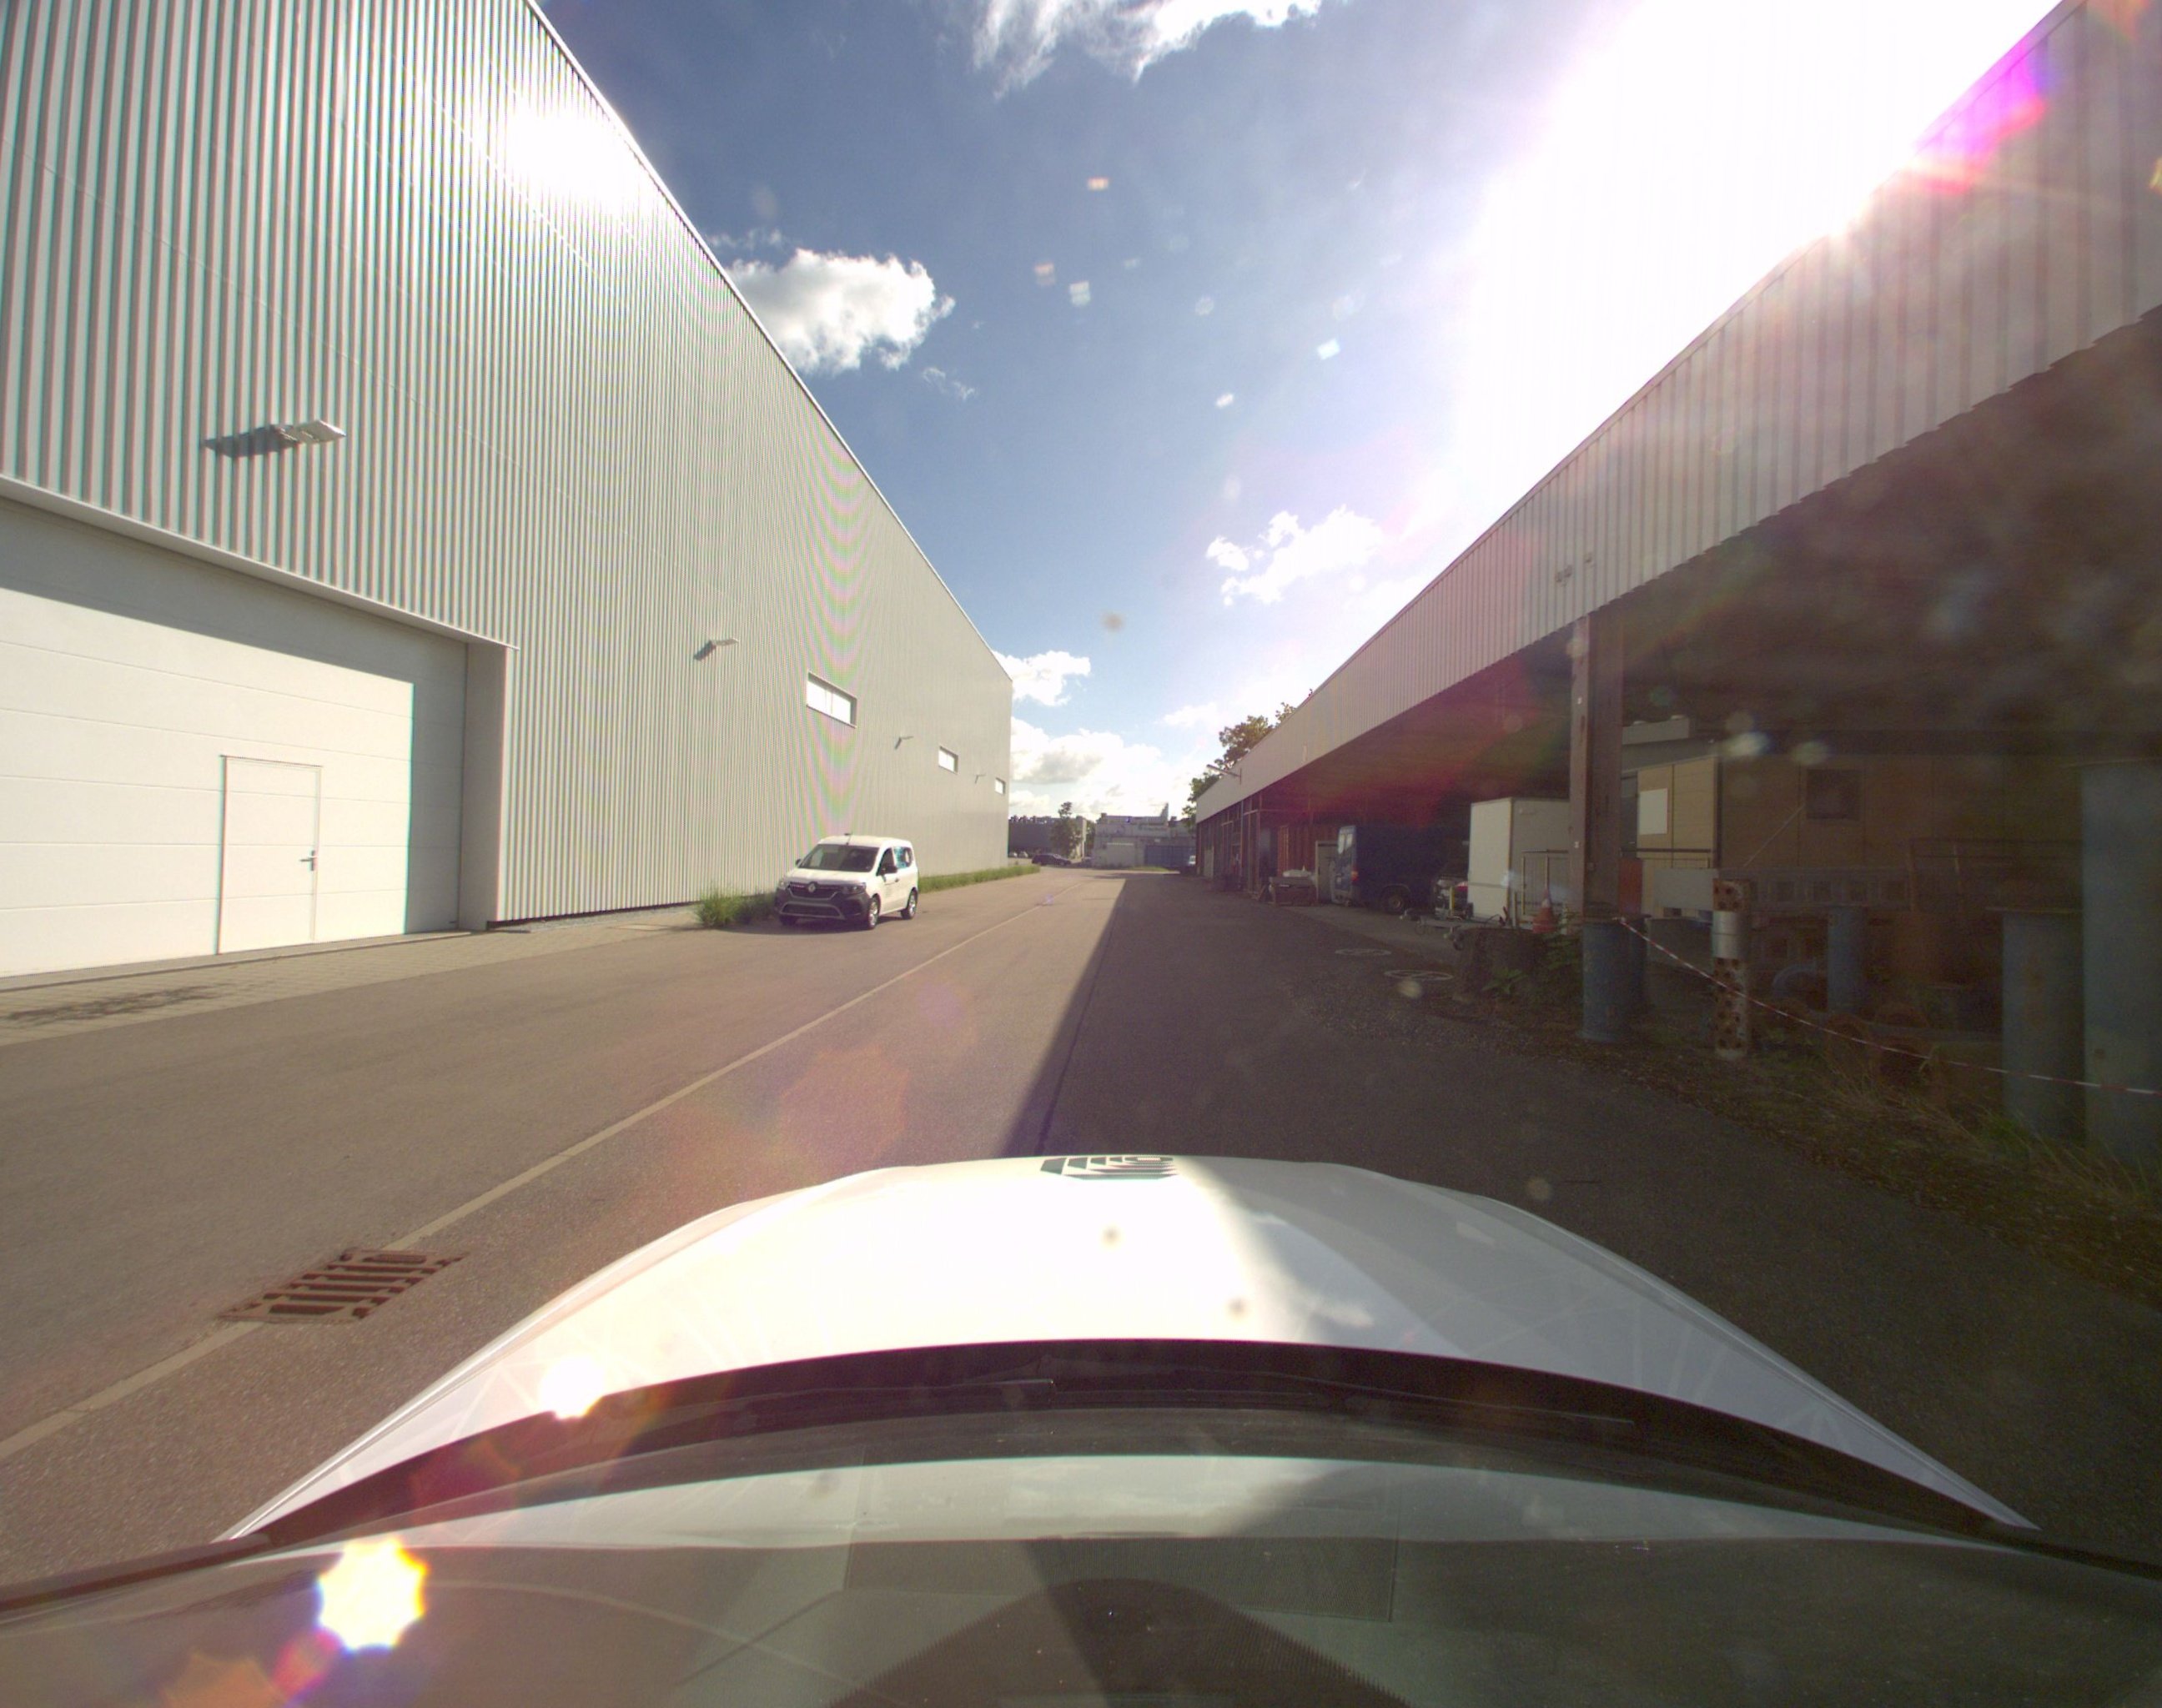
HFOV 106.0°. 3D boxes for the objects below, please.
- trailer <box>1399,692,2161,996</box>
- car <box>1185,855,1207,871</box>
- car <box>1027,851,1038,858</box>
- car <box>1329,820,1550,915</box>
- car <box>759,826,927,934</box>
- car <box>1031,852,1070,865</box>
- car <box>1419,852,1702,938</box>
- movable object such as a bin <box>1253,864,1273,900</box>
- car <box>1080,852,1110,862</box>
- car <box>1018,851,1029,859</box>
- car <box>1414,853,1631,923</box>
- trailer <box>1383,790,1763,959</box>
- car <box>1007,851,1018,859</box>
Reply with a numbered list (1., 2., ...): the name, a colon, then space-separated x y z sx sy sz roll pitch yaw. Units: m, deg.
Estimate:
1. trailer: 9.512 -0.118 10.123 9.995 3.216 2.856 0 0 3
2. car: 12.066 0.931 85.621 1.985 1.585 4.176 1 1 3
3. car: -11.565 0.155 195.226 2.184 1.736 4.003 -1 -1 3
4. car: 9.280 0.330 21.435 4.957 2.325 2.002 1 0 3
5. car: -4.720 0.475 16.894 1.882 1.845 4.362 3 0 3
6. car: -3.666 0.578 99.199 4.504 1.508 1.911 0 0 5
7. car: 8.876 0.721 15.347 4.313 1.496 1.777 0 0 1
8. movable object such as a bin: 6.090 0.911 27.284 0.578 1.164 1.241 0 0 8
9. car: 2.243 0.431 126.560 4.505 1.508 1.911 1 0 4
10. car: -13.998 0.222 197.063 2.184 1.736 4.003 -1 -1 3
11. car: 9.886 0.739 18.433 3.975 1.472 1.787 0 0 -1
12. trailer: 7.430 0.275 12.774 4.785 2.391 1.831 0 0 8
13. car: -16.592 0.273 196.848 1.985 1.736 4.003 -1 -1 3
